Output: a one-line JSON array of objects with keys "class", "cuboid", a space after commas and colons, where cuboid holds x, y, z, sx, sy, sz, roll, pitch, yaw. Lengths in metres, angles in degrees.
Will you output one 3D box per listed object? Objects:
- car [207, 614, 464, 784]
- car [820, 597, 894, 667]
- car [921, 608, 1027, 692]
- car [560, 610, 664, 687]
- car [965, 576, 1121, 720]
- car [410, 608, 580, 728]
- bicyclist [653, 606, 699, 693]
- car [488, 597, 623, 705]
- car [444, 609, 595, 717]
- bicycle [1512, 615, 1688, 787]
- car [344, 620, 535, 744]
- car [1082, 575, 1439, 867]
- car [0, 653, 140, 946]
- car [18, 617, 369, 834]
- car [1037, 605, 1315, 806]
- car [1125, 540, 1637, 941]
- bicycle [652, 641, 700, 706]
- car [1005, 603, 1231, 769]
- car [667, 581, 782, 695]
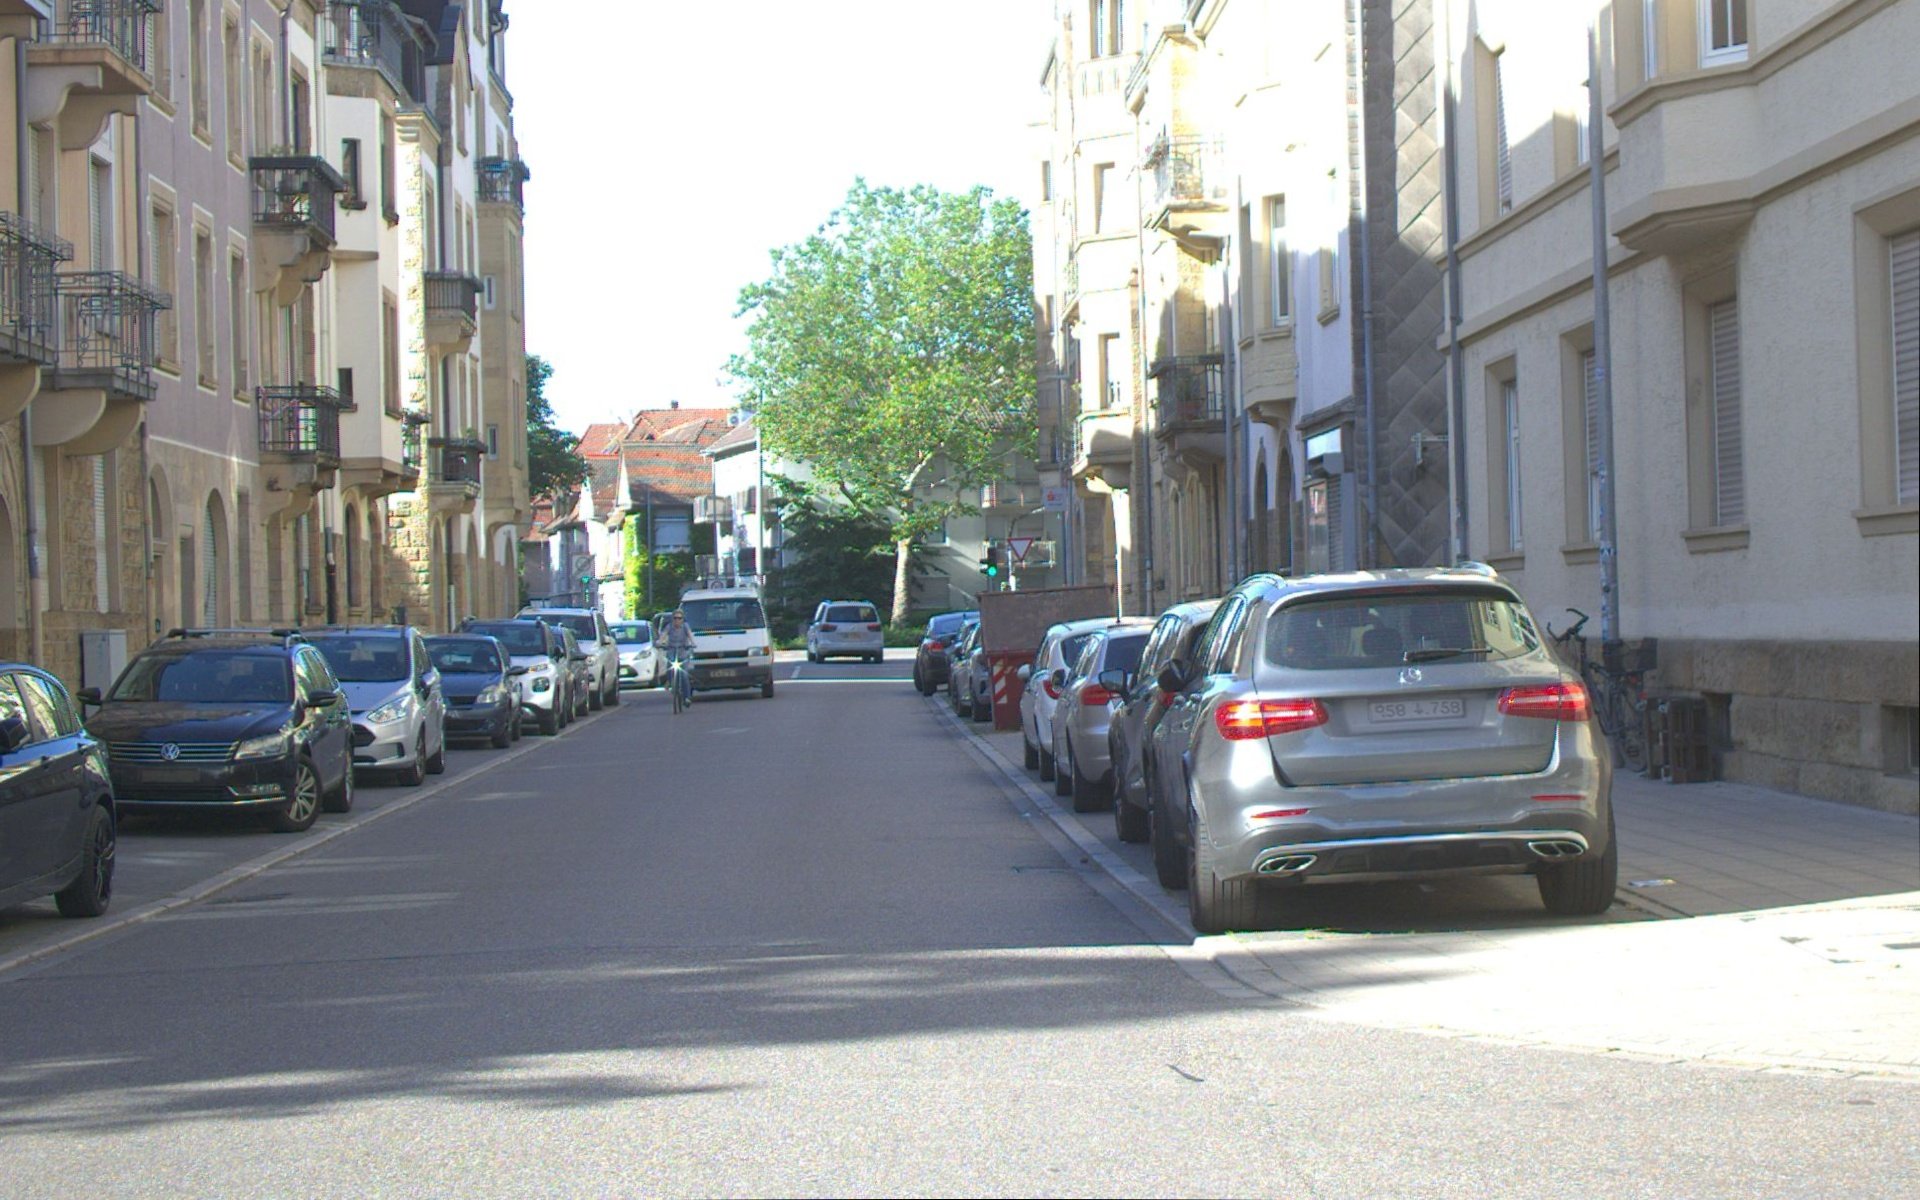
[{"class": "car", "cuboid": [-6.321, 0.988, 35.268, 2.003, 1.613, 4.487, 1, -1, -3]}, {"class": "car", "cuboid": [-2.896, 0.906, 96.119, 2.003, 1.907, 4.487, 1, -1, -2]}, {"class": "car", "cuboid": [0.231, 0.975, 64.900, 1.838, 1.427, 4.028, -3, -2, -1]}, {"class": "car", "cuboid": [-7.568, 1.060, 75.090, 2.003, 1.600, 4.487, 1, -1, -3]}, {"class": "car", "cuboid": [1.066, 0.683, 46.091, 1.838, 1.781, 4.028, -2, -2, -1]}, {"class": "car", "cuboid": [-6.543, 0.956, 48.799, 2.003, 1.613, 4.487, 1, -1, -3]}, {"class": "bicyclist", "cuboid": [-4.640, 0.809, 56.243, 0.662, 1.381, 0.754, -3, -1, -3]}, {"class": "car", "cuboid": [-7.004, 0.889, 59.902, 2.003, 1.782, 4.487, 1, -1, -3]}, {"class": "car", "cuboid": [-6.914, 0.985, 54.295, 2.003, 1.613, 4.487, 1, -1, -3]}, {"class": "bicycle", "cuboid": [4.933, 0.752, 26.687, 0.761, 1.242, 2.592, -1, 0, -2]}, {"class": "car", "cuboid": [-6.609, 1.032, 44.043, 1.978, 1.477, 4.328, 1, -1, -3]}, {"class": "car", "cuboid": [1.806, 0.752, 21.845, 1.745, 1.602, 4.028, -3, -2, -1]}, {"class": "car", "cuboid": [-5.513, 0.978, 17.456, 1.679, 1.422, 4.274, 1, -1, 0]}, {"class": "car", "cuboid": [-6.028, 0.959, 27.570, 2.003, 1.577, 4.487, 1, -1, -3]}, {"class": "car", "cuboid": [1.671, 0.847, 27.908, 1.838, 1.427, 4.028, -3, -2, -1]}, {"class": "car", "cuboid": [1.931, 0.669, 17.225, 1.913, 1.639, 4.773, -3, -2, 0]}, {"class": "bicycle", "cuboid": [-4.631, 1.198, 56.221, 0.662, 1.015, 2.066, -3, -1, -3]}, {"class": "car", "cuboid": [1.464, 0.836, 33.298, 1.838, 1.427, 4.028, -3, -2, -1]}, {"class": "car", "cuboid": [-4.306, 0.713, 63.336, 2.003, 1.993, 4.487, 1, -1, -3]}]
